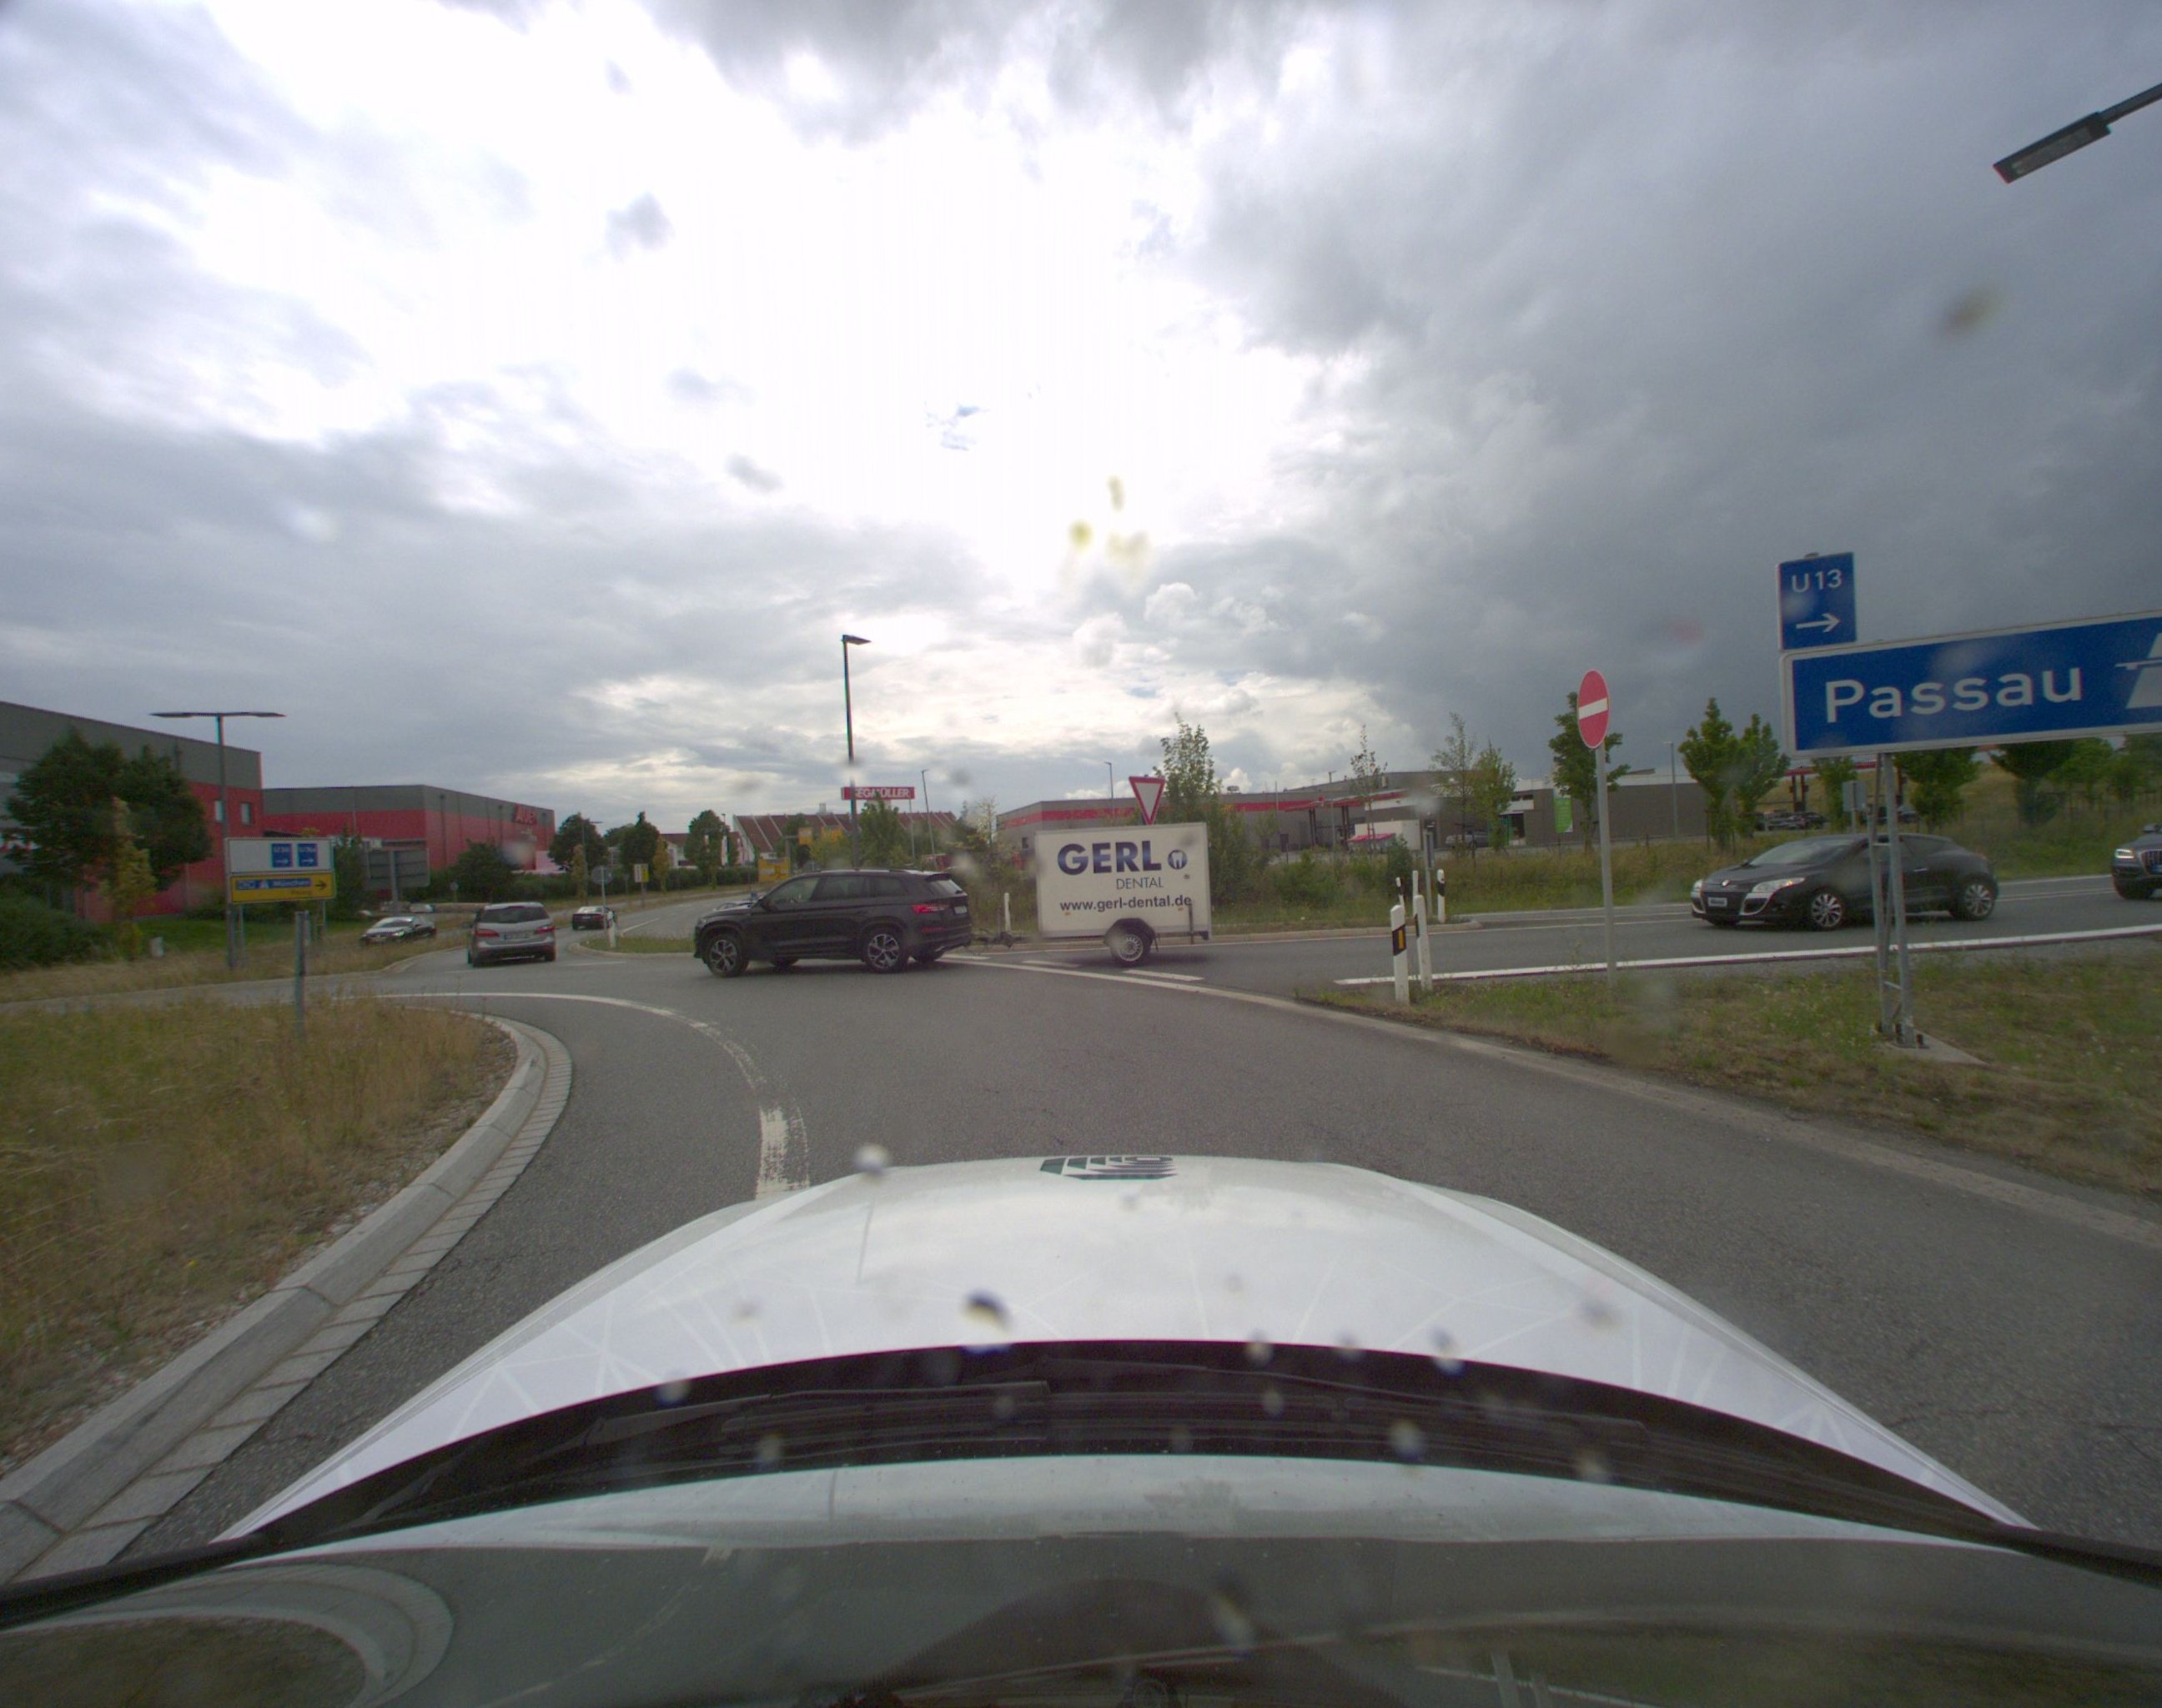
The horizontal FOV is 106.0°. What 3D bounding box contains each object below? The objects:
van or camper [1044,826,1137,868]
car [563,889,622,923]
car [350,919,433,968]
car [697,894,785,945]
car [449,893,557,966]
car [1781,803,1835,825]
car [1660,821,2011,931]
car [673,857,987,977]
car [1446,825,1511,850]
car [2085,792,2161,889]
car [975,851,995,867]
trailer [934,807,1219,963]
[{"bbox_3d":[0.829,-0.609,72.276,7.734,3.178,2.478,-4,1,-18],"label":"van or camper"},{"bbox_3d":[-28.628,3.004,47.857,1.910,1.618,3.979,-3,0,-15],"label":"car"},{"bbox_3d":[-32.369,4.143,38.365,1.681,1.771,3.928,-3,0,-20],"label":"car"},{"bbox_3d":[-13.461,2.528,32.185,1.886,1.604,3.688,-7,3,-44],"label":"car"},{"bbox_3d":[-15.438,1.919,21.688,1.783,1.616,3.873,-3,0,-43],"label":"car"},{"bbox_3d":[60.162,-3.303,67.388,3.665,1.538,1.786,-3,-2,-22],"label":"car"},{"bbox_3d":[11.728,0.327,12.791,4.130,1.370,1.838,-3,-1,-9],"label":"car"},{"bbox_3d":[-4.094,1.014,13.557,4.570,1.670,1.823,-3,0,11],"label":"car"},{"bbox_3d":[27.137,-1.138,55.598,4.000,1.431,1.659,-3,-1,-20],"label":"car"},{"bbox_3d":[19.715,-0.319,13.777,4.272,1.583,1.873,-3,-1,-16],"label":"car"},{"bbox_3d":[-12.394,0.622,104.759,1.705,1.811,3.946,-6,1,-18],"label":"car"},{"bbox_3d":[0.000,0.487,12.883,4.111,2.091,1.816,-3,-1,6],"label":"trailer"}]
